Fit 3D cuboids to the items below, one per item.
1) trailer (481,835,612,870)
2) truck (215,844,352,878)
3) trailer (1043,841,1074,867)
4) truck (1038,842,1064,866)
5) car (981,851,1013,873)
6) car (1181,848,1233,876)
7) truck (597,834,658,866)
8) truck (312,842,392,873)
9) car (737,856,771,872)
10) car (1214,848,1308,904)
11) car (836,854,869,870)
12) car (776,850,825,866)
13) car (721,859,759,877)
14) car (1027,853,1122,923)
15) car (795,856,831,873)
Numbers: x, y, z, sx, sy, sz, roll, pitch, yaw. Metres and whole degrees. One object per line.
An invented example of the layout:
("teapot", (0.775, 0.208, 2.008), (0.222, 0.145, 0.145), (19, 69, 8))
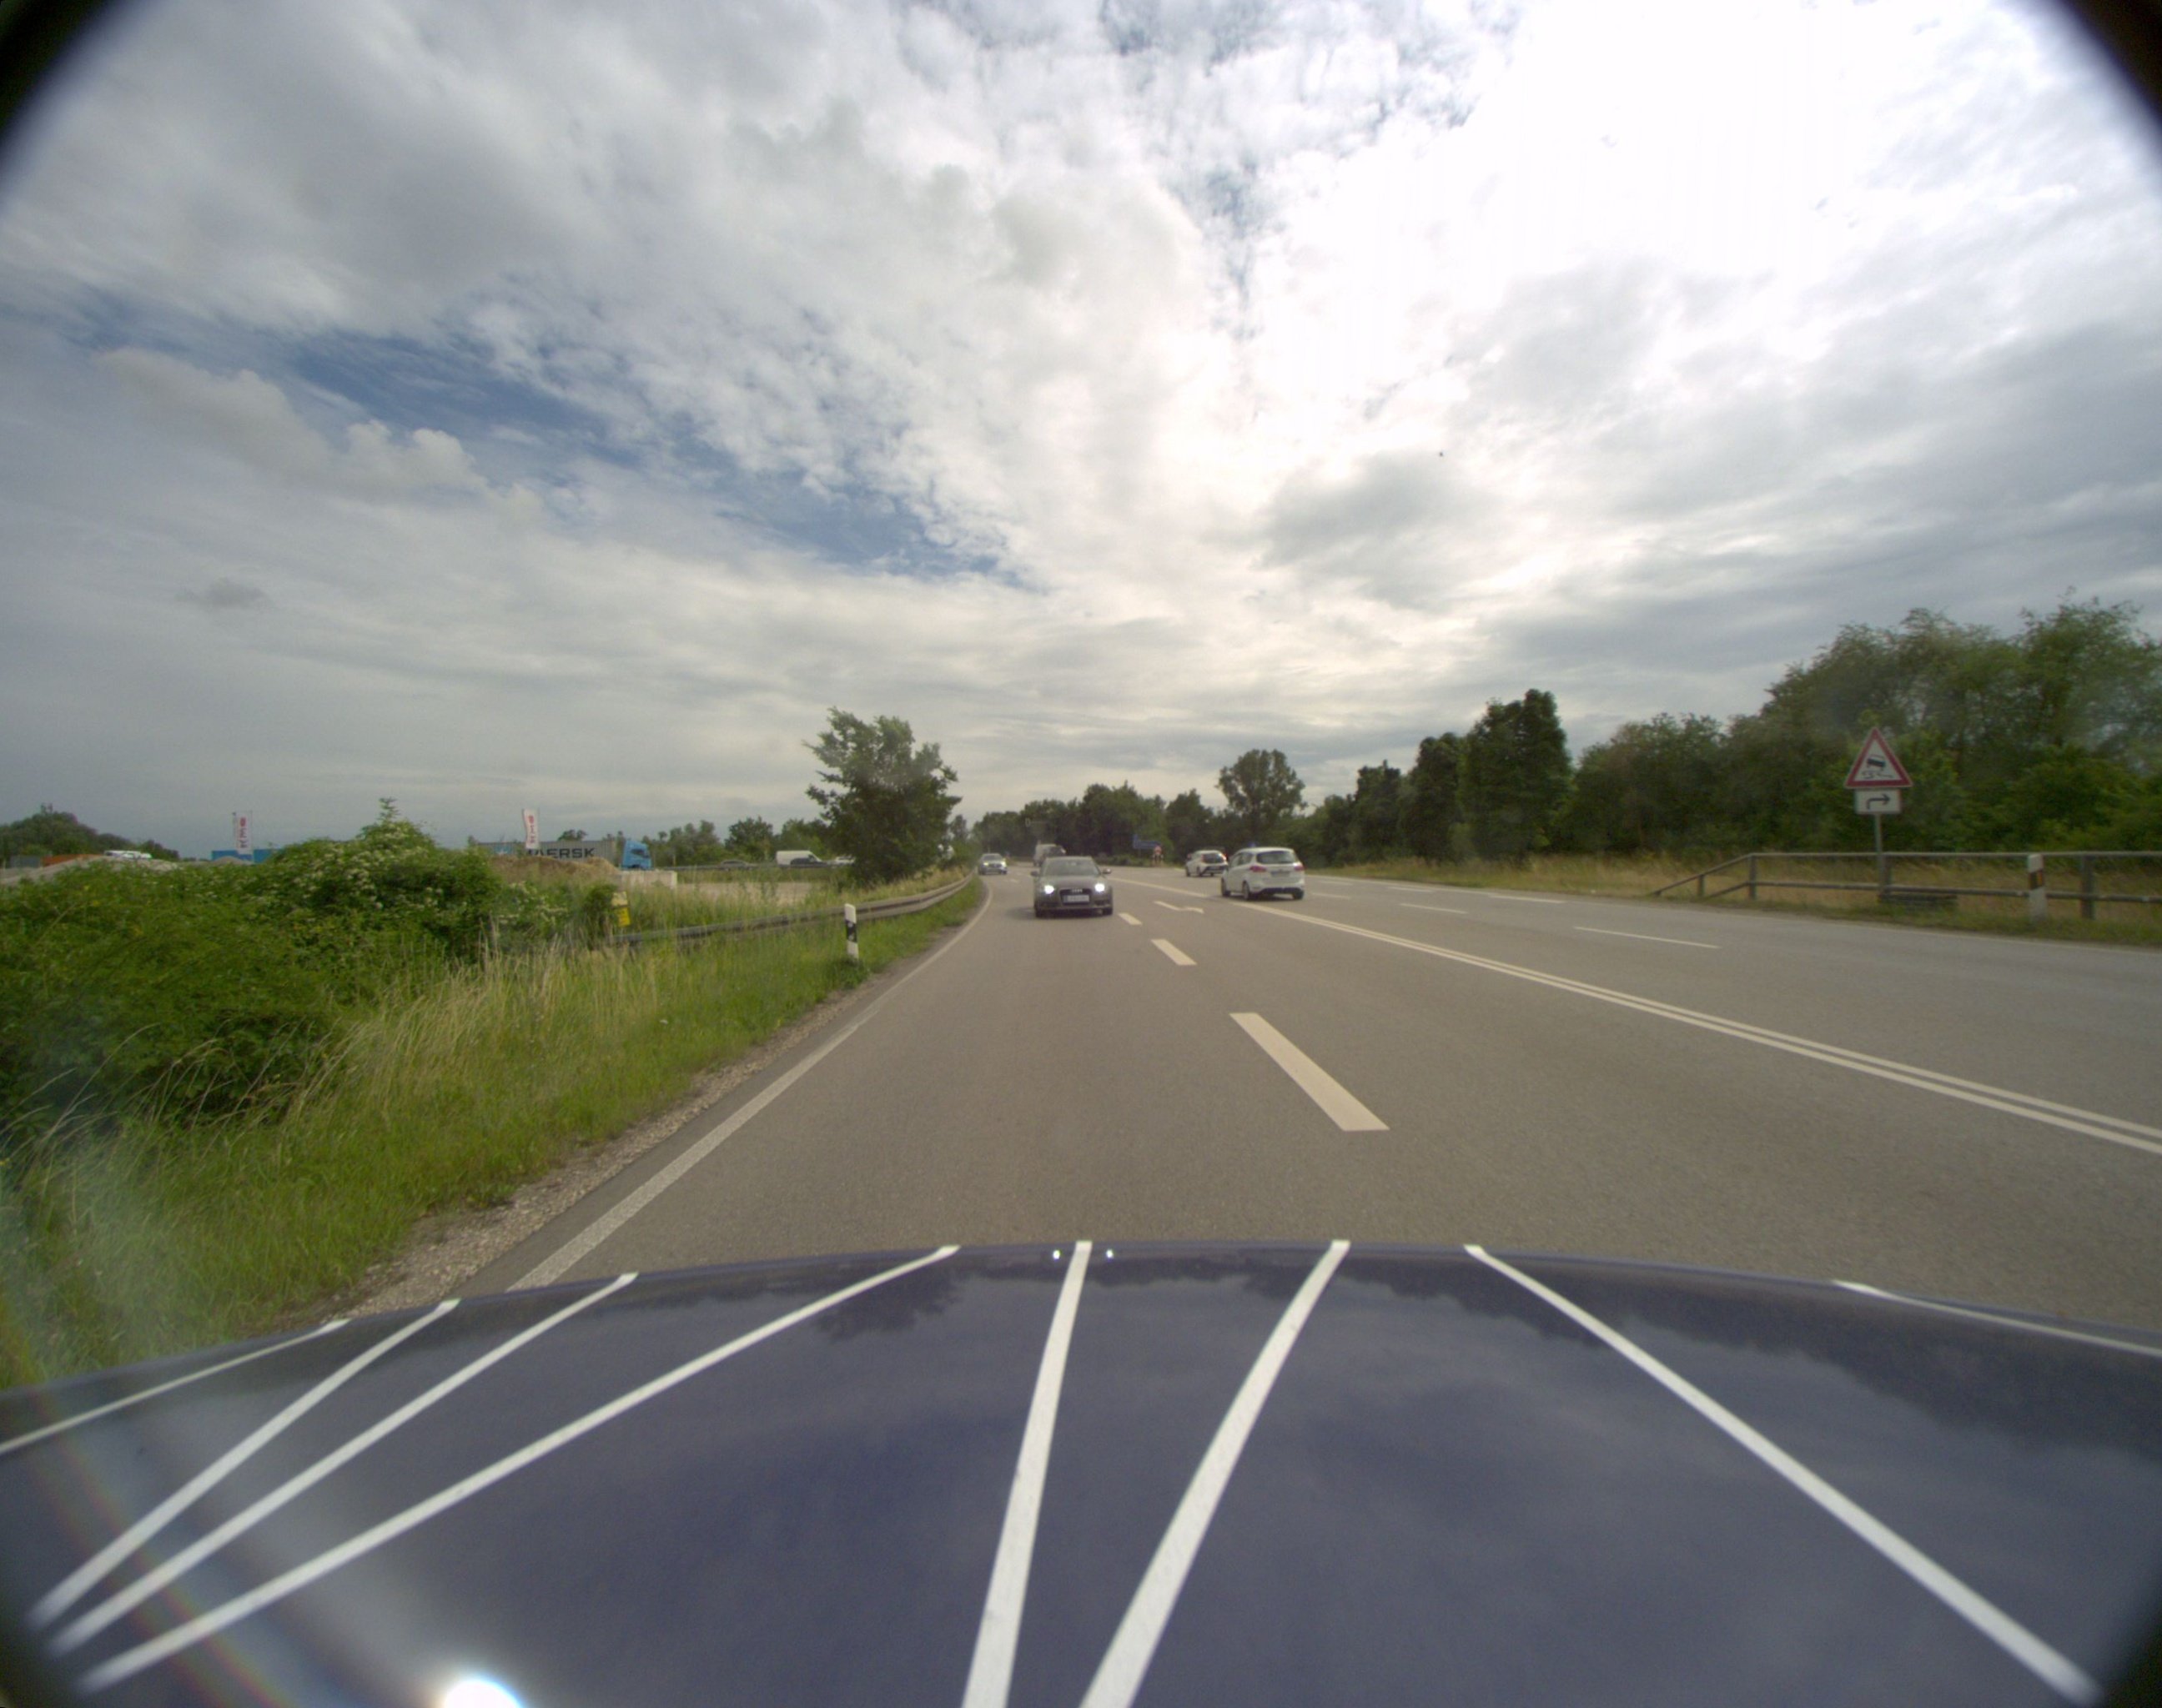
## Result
("trailer", (-58.041, -0.174, 82.923), (11.243, 3.290, 2.387), (-3, 0, -23))
("truck", (-84.437, 0.710, 80.513), (11.750, 3.036, 2.392), (-3, 0, 0))
("trailer", (-2.369, 0.022, 77.686), (2.030, 2.430, 6.959), (-2, 0, -11))
("truck", (-3.278, 0.029, 82.506), (2.030, 2.430, 5.019), (-2, 1, -11))
("car", (-6.681, 0.641, 59.775), (2.022, 1.603, 4.276), (-2, 0, -12))
("car", (7.083, 0.431, 43.064), (1.882, 1.480, 3.741), (-2, 0, -6))
("truck", (-51.216, -0.455, 85.912), (5.603, 3.286, 2.387), (-3, 0, -26))
("truck", (-77.252, 0.373, 80.569), (5.982, 3.036, 2.392), (-3, 0, 0))
("car", (-43.907, 1.319, 102.112), (4.004, 2.002, 1.928), (-2, 0, -22))
("car", (5.463, 0.618, 23.569), (1.735, 1.509, 3.999), (-3, 0, -3))
("car", (-30.260, 1.086, 100.490), (4.003, 2.002, 1.997), (-2, 0, -20))
("car", (-37.083, 0.540, 100.479), (5.903, 2.002, 2.058), (-2, 0, -22))
("car", (-40.916, 1.654, 91.193), (4.004, 2.002, 1.928), (-1, 0, -22))
("car", (-0.286, 0.800, 19.542), (1.958, 1.527, 3.997), (-2, 0, -7))
("car", (-33.081, 1.238, 93.826), (4.004, 2.002, 1.928), (-1, 0, -22))
